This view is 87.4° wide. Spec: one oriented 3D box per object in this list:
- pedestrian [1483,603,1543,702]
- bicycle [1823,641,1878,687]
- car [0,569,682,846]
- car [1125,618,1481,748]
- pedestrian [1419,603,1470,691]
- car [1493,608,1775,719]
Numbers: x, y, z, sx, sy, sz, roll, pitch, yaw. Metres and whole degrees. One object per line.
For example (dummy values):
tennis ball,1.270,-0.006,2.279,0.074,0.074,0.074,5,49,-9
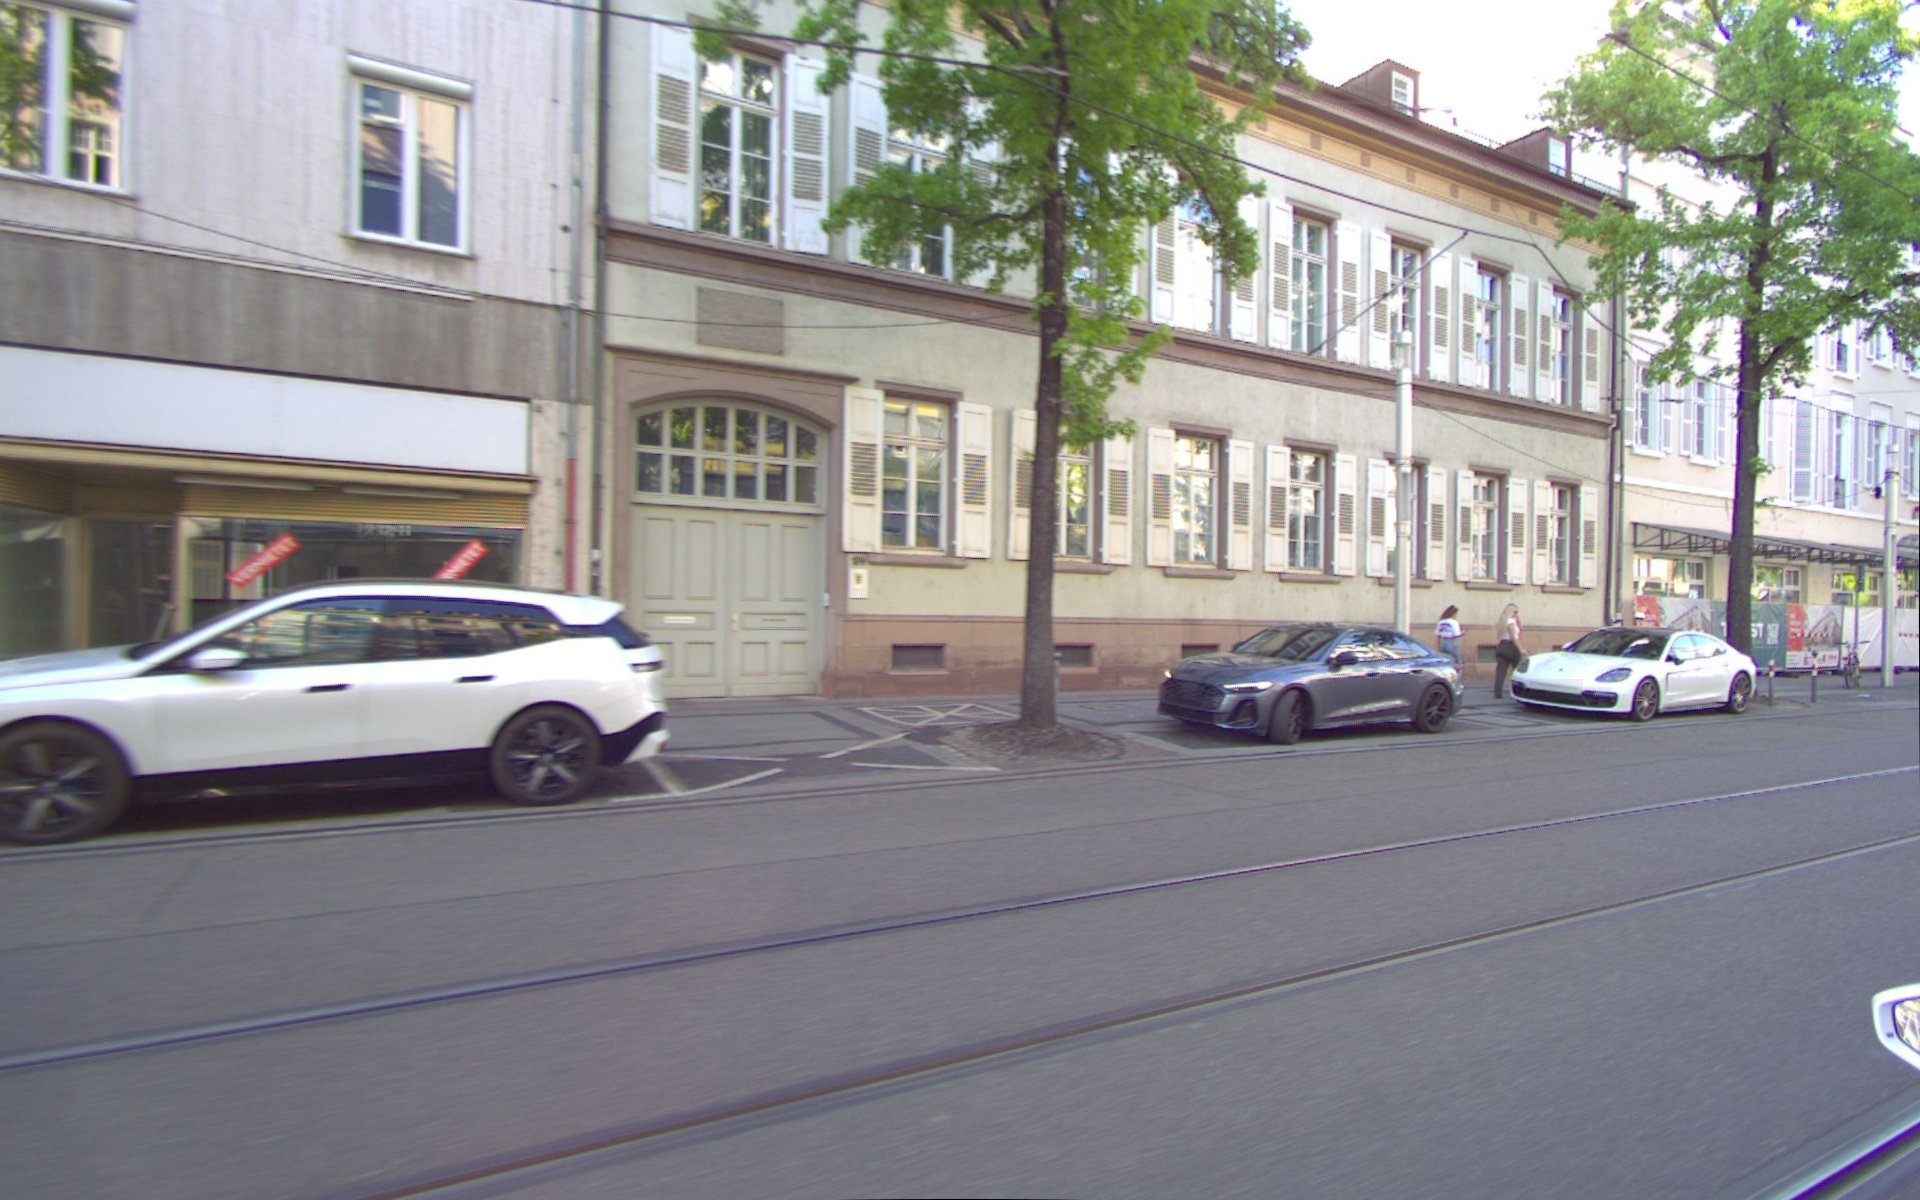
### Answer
pedestrian,10.137,0.948,18.426,0.648,1.744,0.683,1,0,-28
bicycle,21.453,1.522,24.179,1.990,1.064,0.589,1,-1,-36
car,-4.840,0.701,7.953,4.753,1.662,1.953,2,2,-29
car,4.693,1.015,13.511,4.792,1.431,1.951,2,0,-32
pedestrian,9.645,0.925,20.005,0.640,1.702,0.671,1,0,-29
car,11.605,1.032,17.246,4.847,1.662,1.939,2,0,-28
